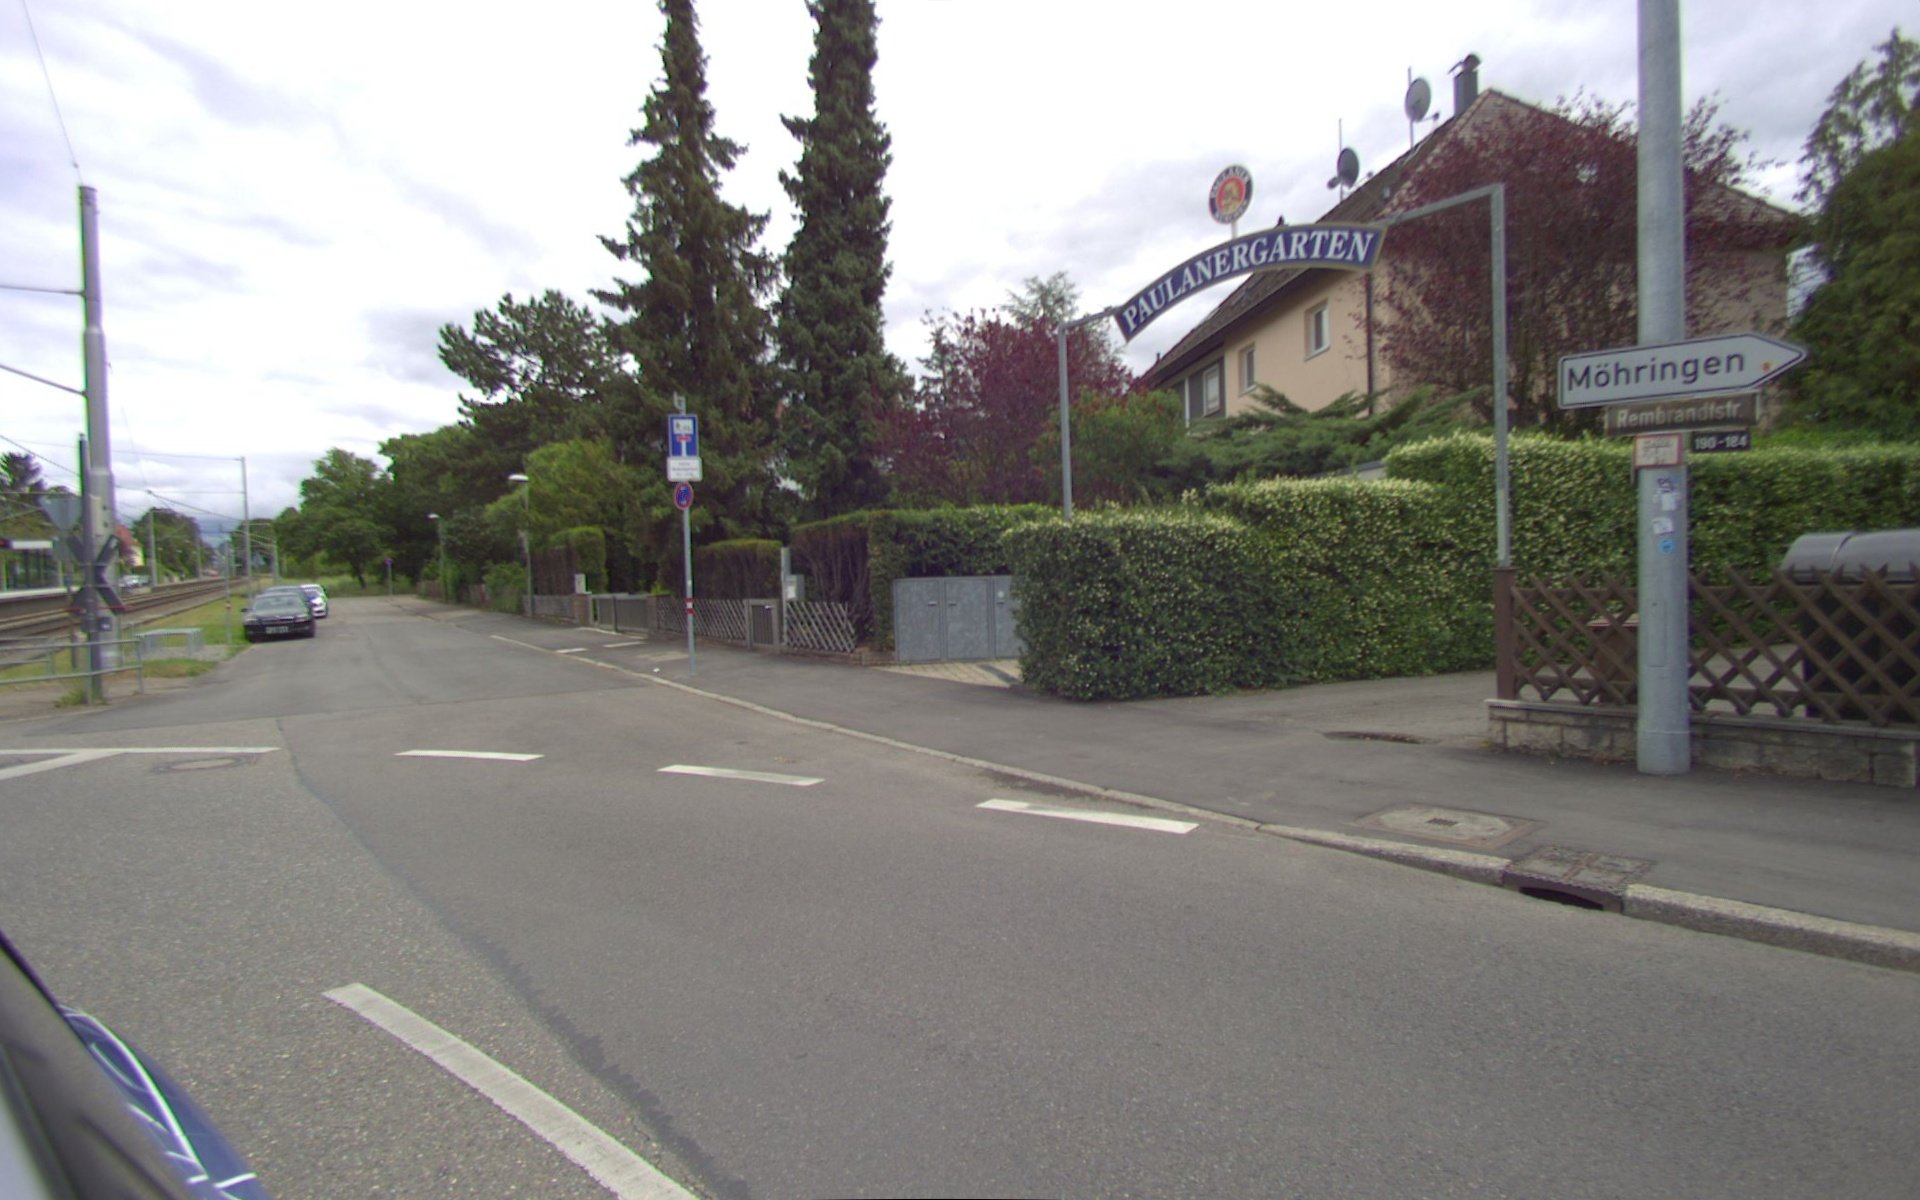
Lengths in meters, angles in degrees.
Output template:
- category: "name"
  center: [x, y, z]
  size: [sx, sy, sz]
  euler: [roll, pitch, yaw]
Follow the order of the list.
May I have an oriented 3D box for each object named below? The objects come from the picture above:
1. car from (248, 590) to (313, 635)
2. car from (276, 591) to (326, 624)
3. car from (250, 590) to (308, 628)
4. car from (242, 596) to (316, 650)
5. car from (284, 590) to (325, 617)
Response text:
- category: "car"
  center: [-25.377, 0.430, 37.876]
  size: [1.824, 1.491, 4.011]
  euler: [-4, 2, -32]
- category: "car"
  center: [-30.804, 0.310, 47.381]
  size: [1.824, 1.386, 4.011]
  euler: [-4, 2, -32]
- category: "car"
  center: [-28.134, 0.339, 41.895]
  size: [1.824, 1.386, 4.011]
  euler: [-4, 2, -32]
- category: "car"
  center: [-21.914, 0.691, 32.577]
  size: [1.792, 1.512, 4.130]
  euler: [-4, 2, -34]
- category: "car"
  center: [-36.666, 0.170, 56.684]
  size: [1.824, 1.386, 4.011]
  euler: [-4, 2, -32]
